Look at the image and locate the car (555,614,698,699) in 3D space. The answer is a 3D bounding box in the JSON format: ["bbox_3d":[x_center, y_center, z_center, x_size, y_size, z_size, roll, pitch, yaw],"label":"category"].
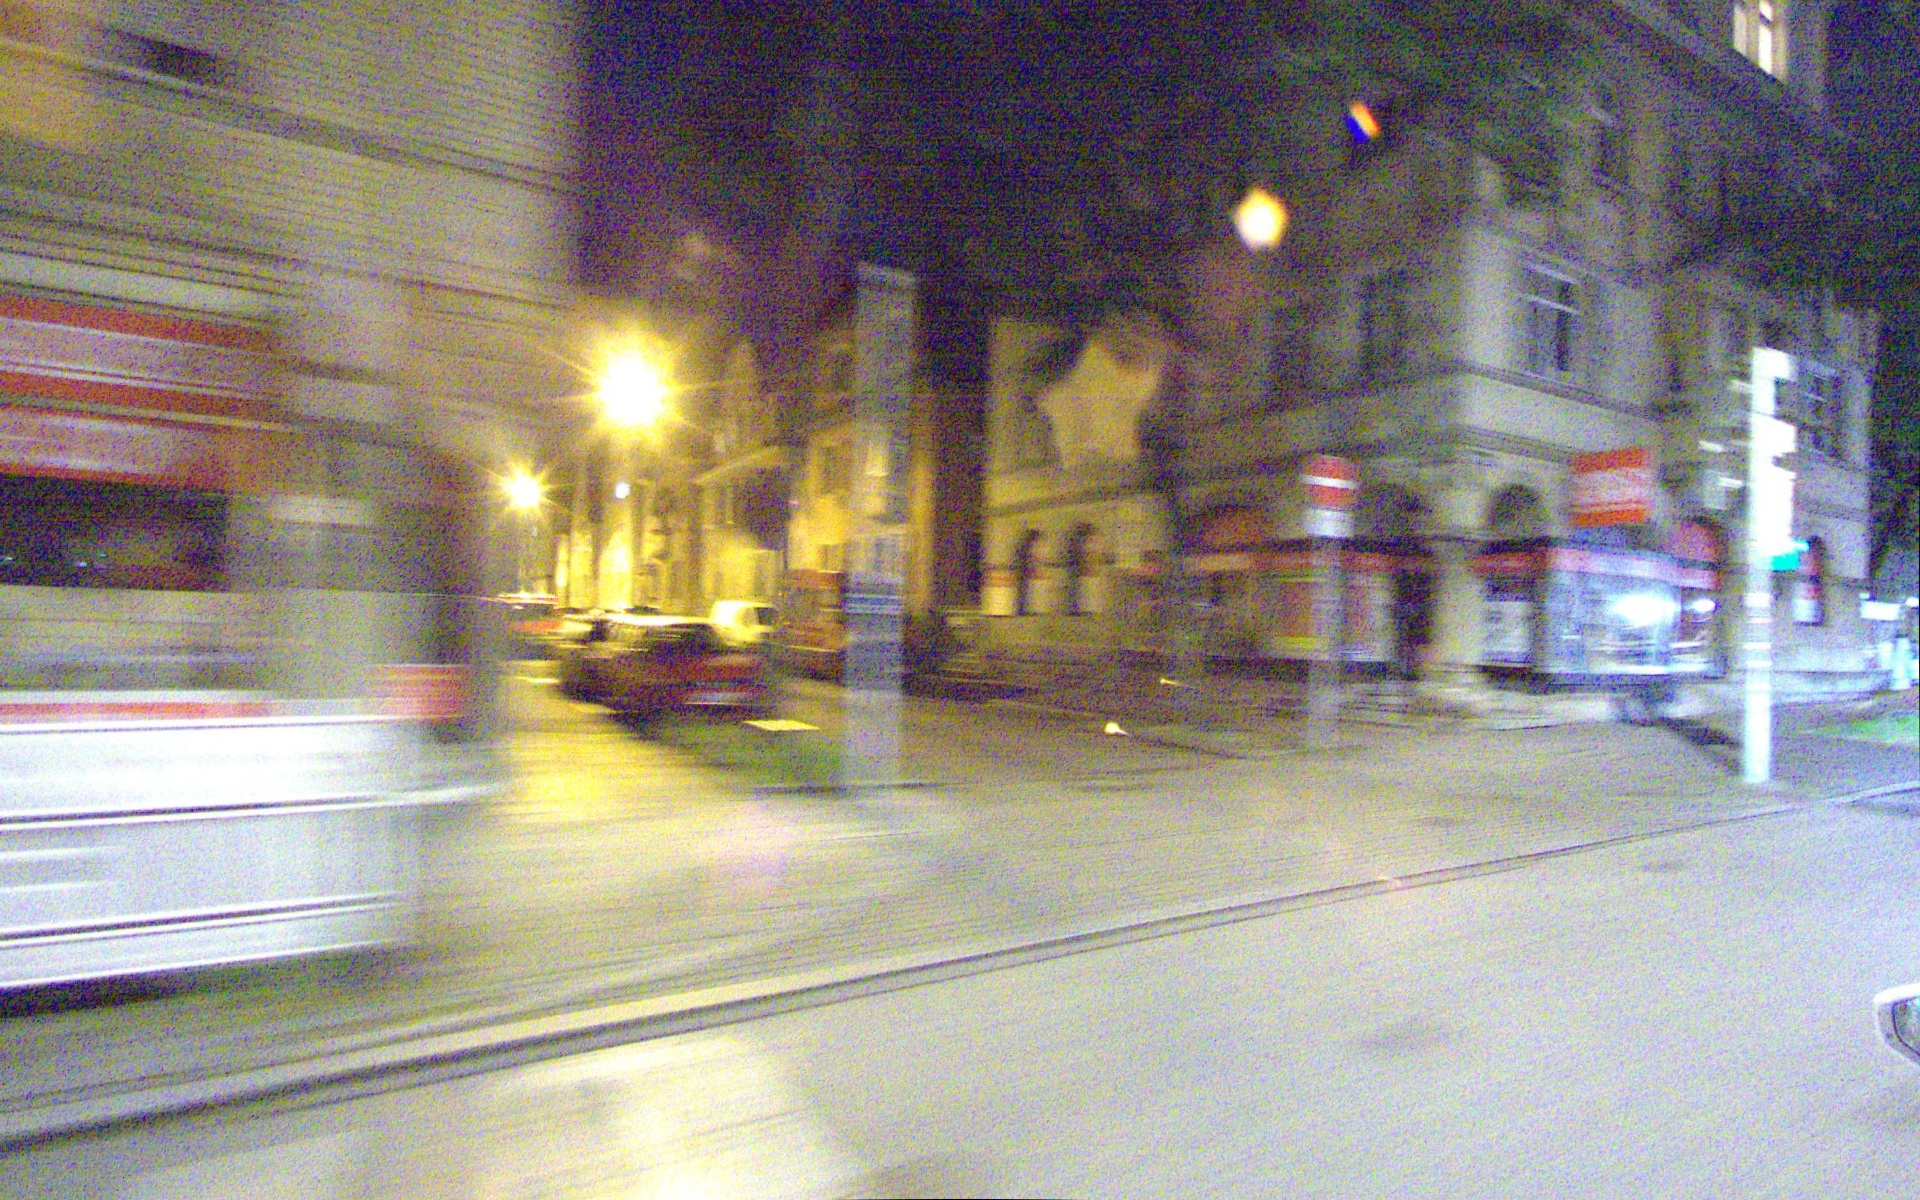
[{"bbox_3d":[-6.381,0.975,18.918,1.849,1.405,4.212,1,-1,-28],"label":"car"}]

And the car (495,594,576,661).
[{"bbox_3d":[-12.813,0.794,30.204,1.849,1.866,4.212,1,-1,-28],"label":"car"}]

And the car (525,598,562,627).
[{"bbox_3d":[-30.070,0.869,72.401,1.865,1.909,4.249,5,-3,-29],"label":"car"}]

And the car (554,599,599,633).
[{"bbox_3d":[-23.587,0.937,61.692,1.865,1.909,4.248,3,-1,-30],"label":"car"}]

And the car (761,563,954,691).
[{"bbox_3d":[-2.610,0.598,23.799,2.221,2.577,5.817,4,-2,-30],"label":"car"}]

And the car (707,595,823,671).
[{"bbox_3d":[-5.695,0.903,28.977,1.866,1.909,4.248,5,-2,-30],"label":"car"}]

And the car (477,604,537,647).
[{"bbox_3d":[-17.778,0.956,39.343,1.848,1.576,4.211,-1,0,-28],"label":"car"}]

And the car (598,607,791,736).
[{"bbox_3d":[-3.912,0.908,14.379,1.849,1.576,3.733,1,-1,-28],"label":"car"}]

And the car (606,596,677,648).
[{"bbox_3d":[-13.424,0.887,42.163,1.866,1.909,4.248,5,-2,-30],"label":"car"}]
